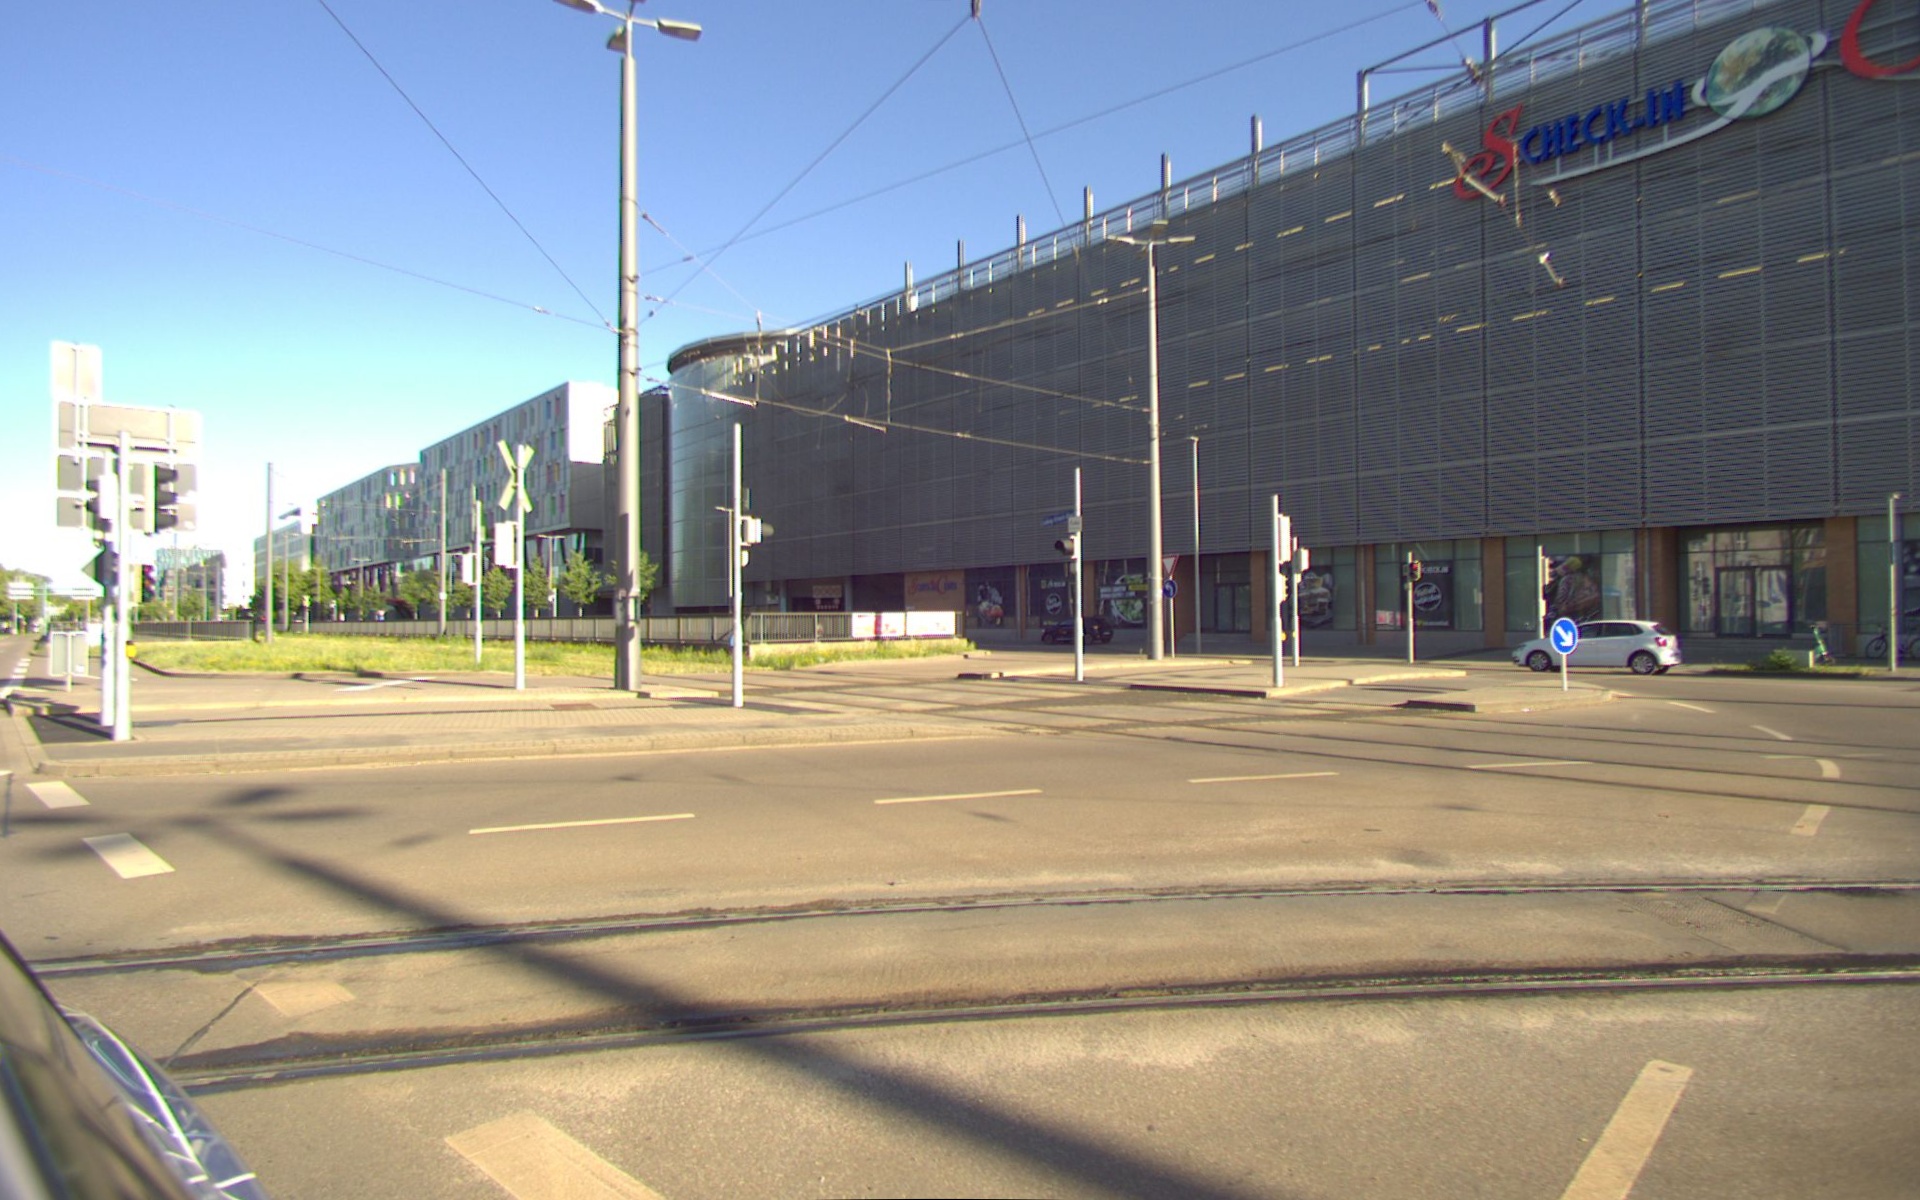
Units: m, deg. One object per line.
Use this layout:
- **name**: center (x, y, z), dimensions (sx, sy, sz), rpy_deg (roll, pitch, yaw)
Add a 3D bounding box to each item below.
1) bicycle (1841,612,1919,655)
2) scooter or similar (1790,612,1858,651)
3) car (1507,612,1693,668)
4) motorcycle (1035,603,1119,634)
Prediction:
- **bicycle**: center (27.706, 0.983, 29.880), dimensions (0.790, 1.230, 2.419), rpy_deg (-1, -1, -39)
- **scooter or similar**: center (27.761, 1.001, 32.533), dimensions (0.784, 1.216, 1.576), rpy_deg (1, -1, -42)
- **car**: center (17.542, 1.066, 27.861), dimensions (1.872, 1.418, 4.003), rpy_deg (0, -1, -44)
- **motorcycle**: center (6.048, 0.978, 52.736), dimensions (1.969, 1.464, 4.004), rpy_deg (-1, -2, -42)
